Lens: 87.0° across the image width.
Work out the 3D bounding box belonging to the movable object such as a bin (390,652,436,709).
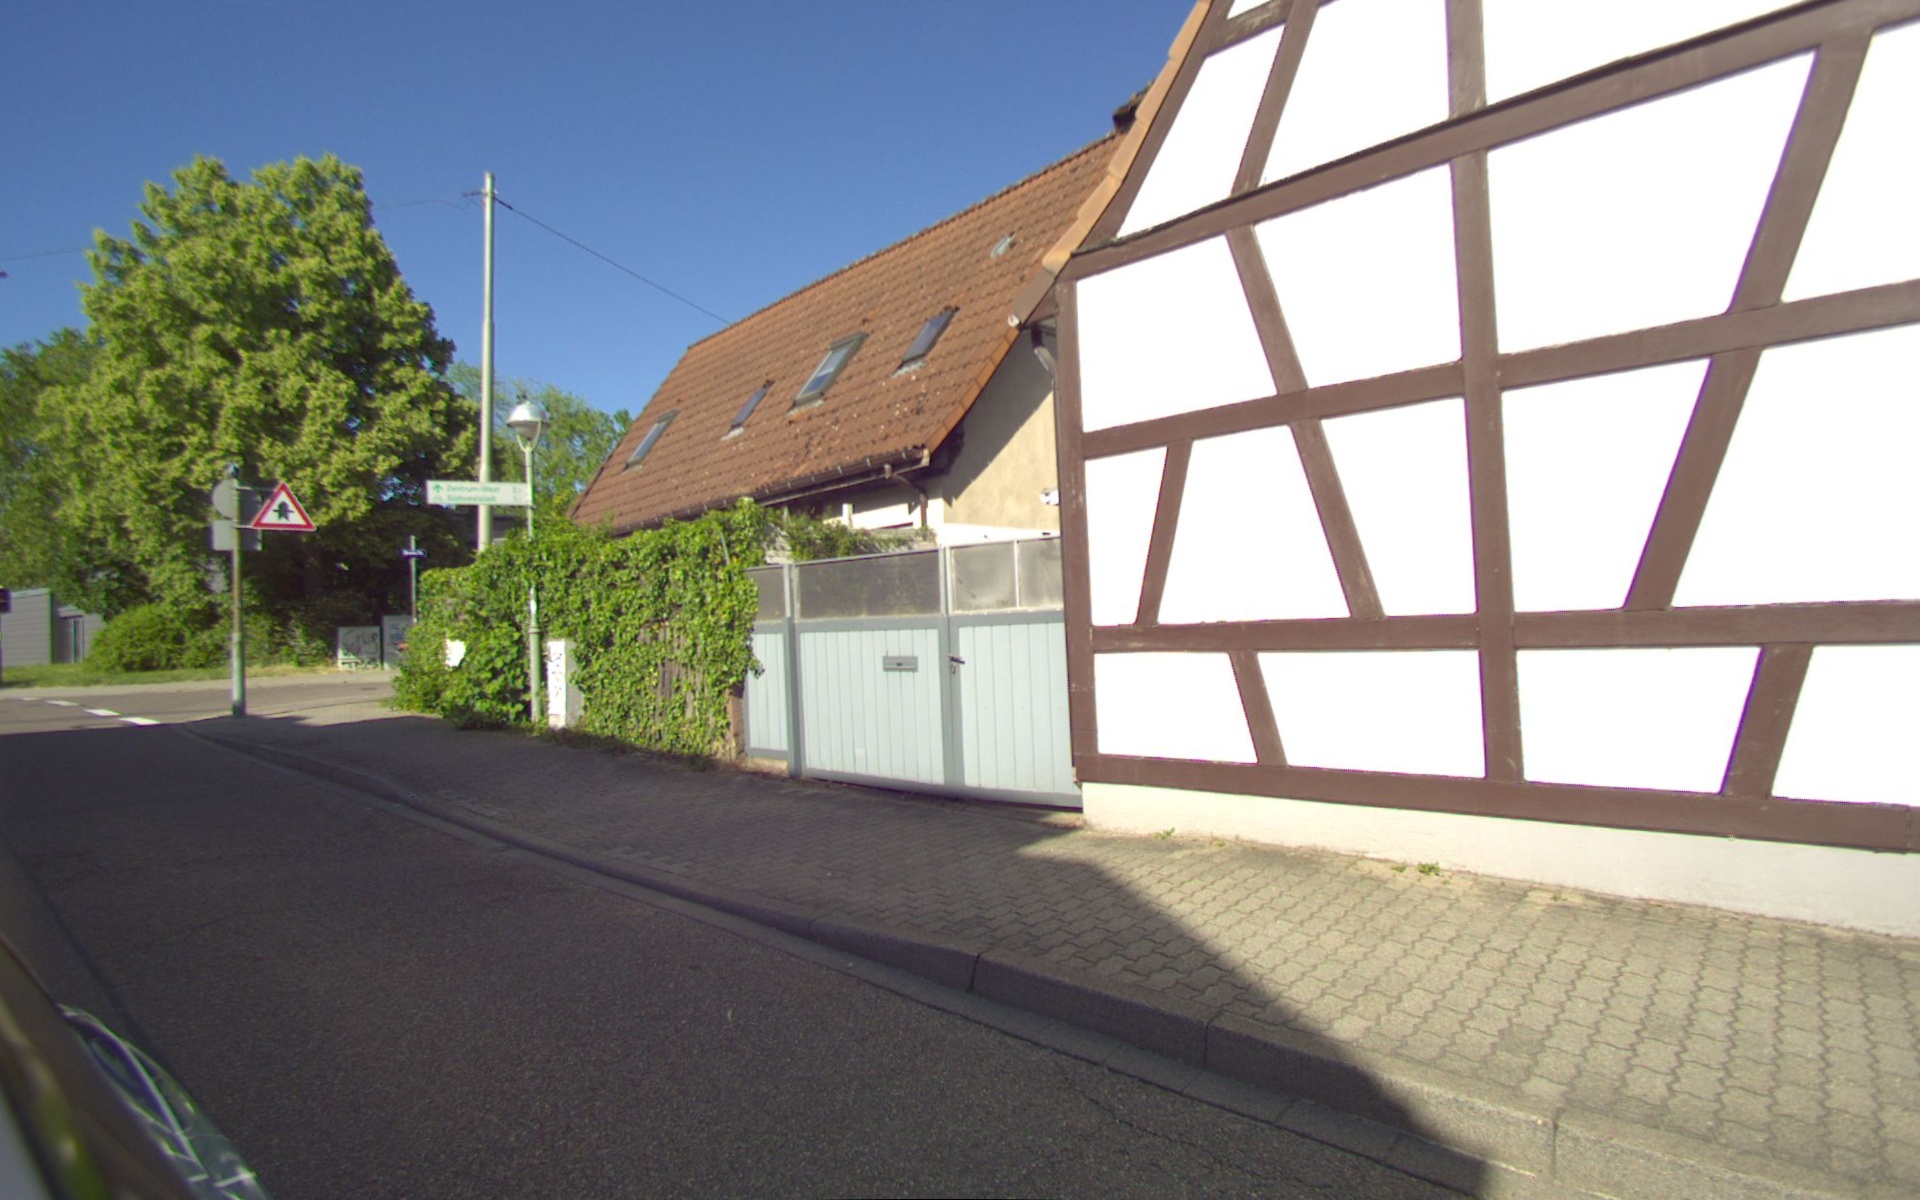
[{"bbox_3d":[-9.482,1.382,17.540,0.549,0.931,0.626,-1,-2,-42],"label":"movable object such as a bin"}]
